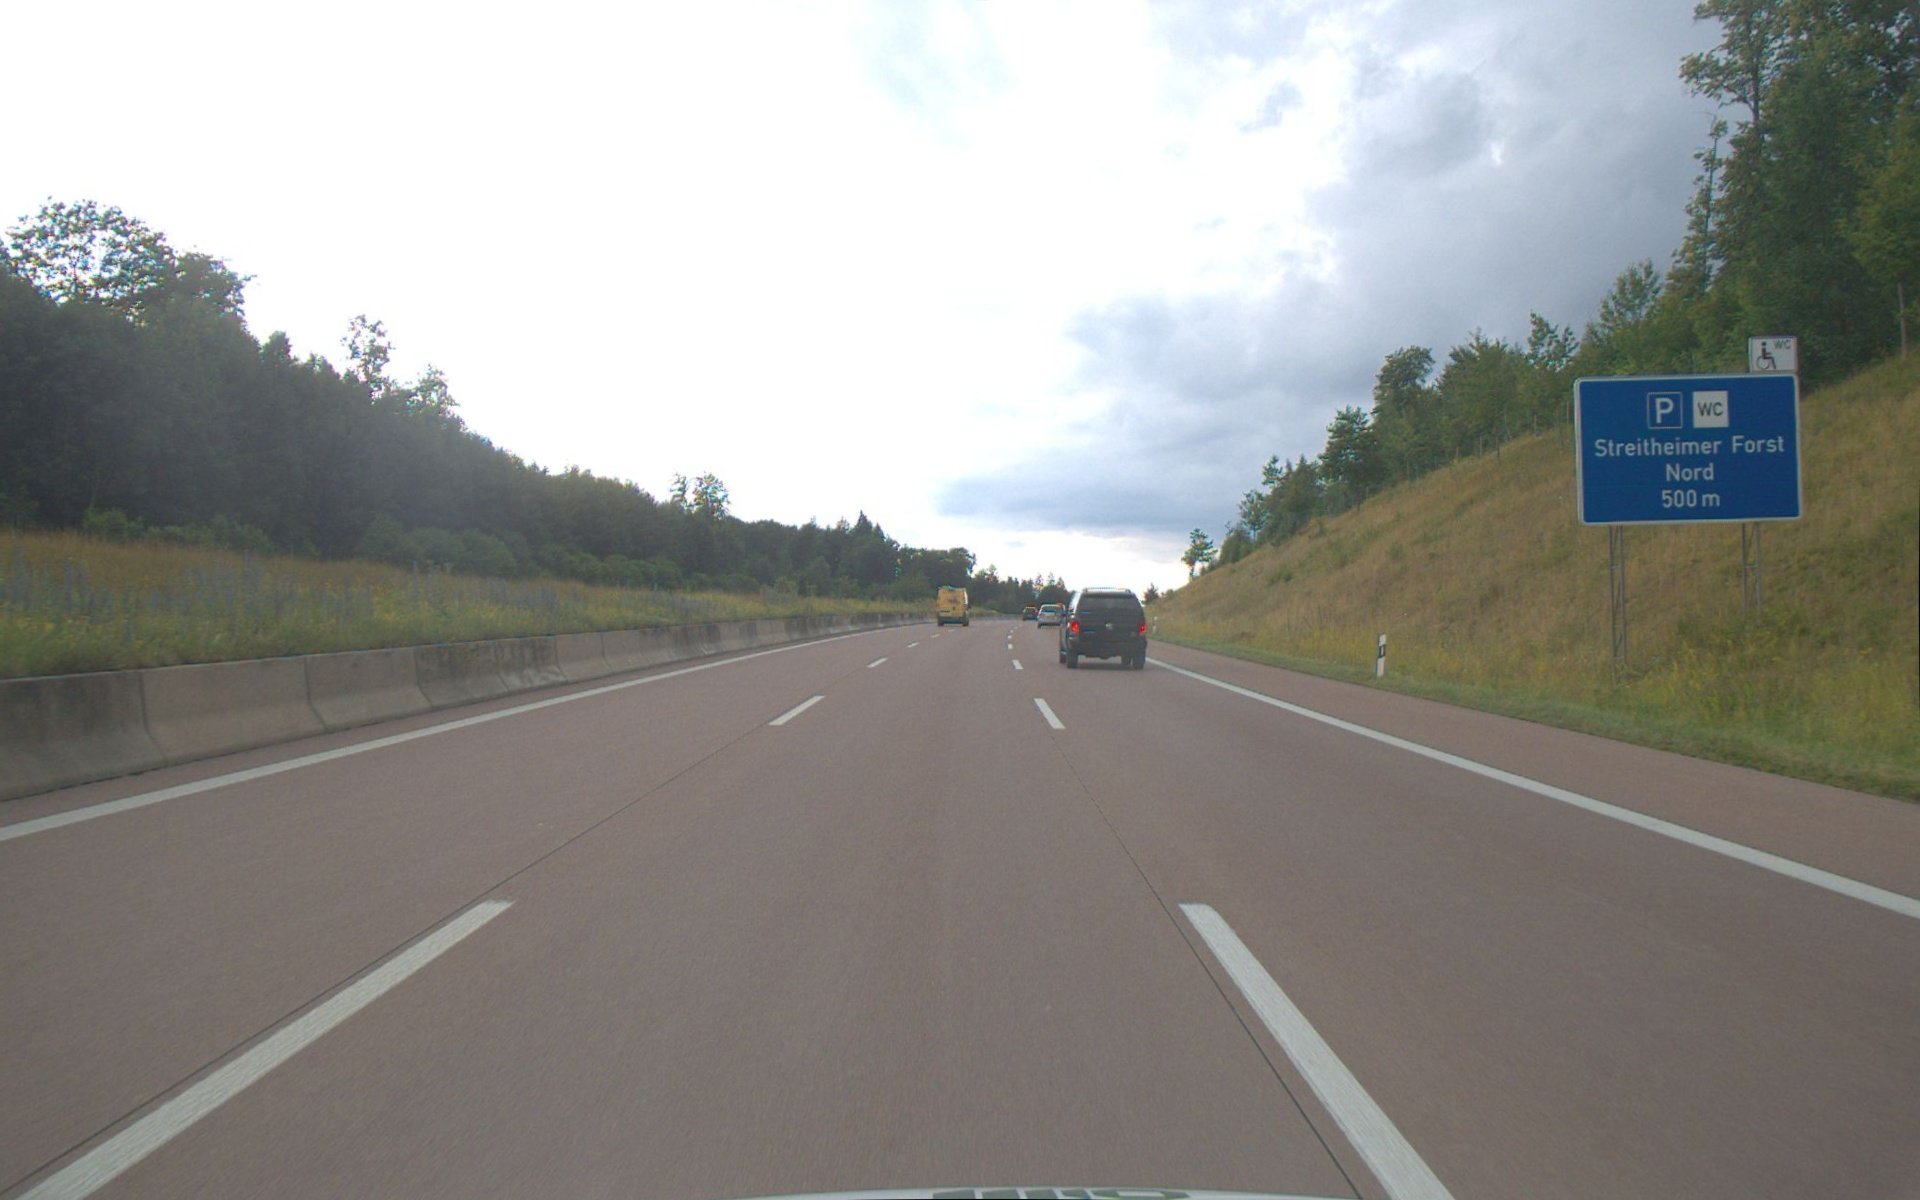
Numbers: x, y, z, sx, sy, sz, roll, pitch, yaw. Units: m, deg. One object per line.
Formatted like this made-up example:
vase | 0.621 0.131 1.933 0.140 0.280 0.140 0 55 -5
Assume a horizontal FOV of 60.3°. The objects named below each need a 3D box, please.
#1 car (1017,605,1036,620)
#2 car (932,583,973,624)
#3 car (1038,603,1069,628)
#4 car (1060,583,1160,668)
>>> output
car | 8.068 1.520 200.763 1.847 1.795 5.001 0 -1 7
car | -0.507 0.259 116.139 2.407 2.754 5.616 0 -1 4
car | 6.391 1.081 113.630 1.937 1.677 4.619 1 -1 1
car | 3.596 0.631 40.655 2.002 1.930 5.577 0 -1 1
